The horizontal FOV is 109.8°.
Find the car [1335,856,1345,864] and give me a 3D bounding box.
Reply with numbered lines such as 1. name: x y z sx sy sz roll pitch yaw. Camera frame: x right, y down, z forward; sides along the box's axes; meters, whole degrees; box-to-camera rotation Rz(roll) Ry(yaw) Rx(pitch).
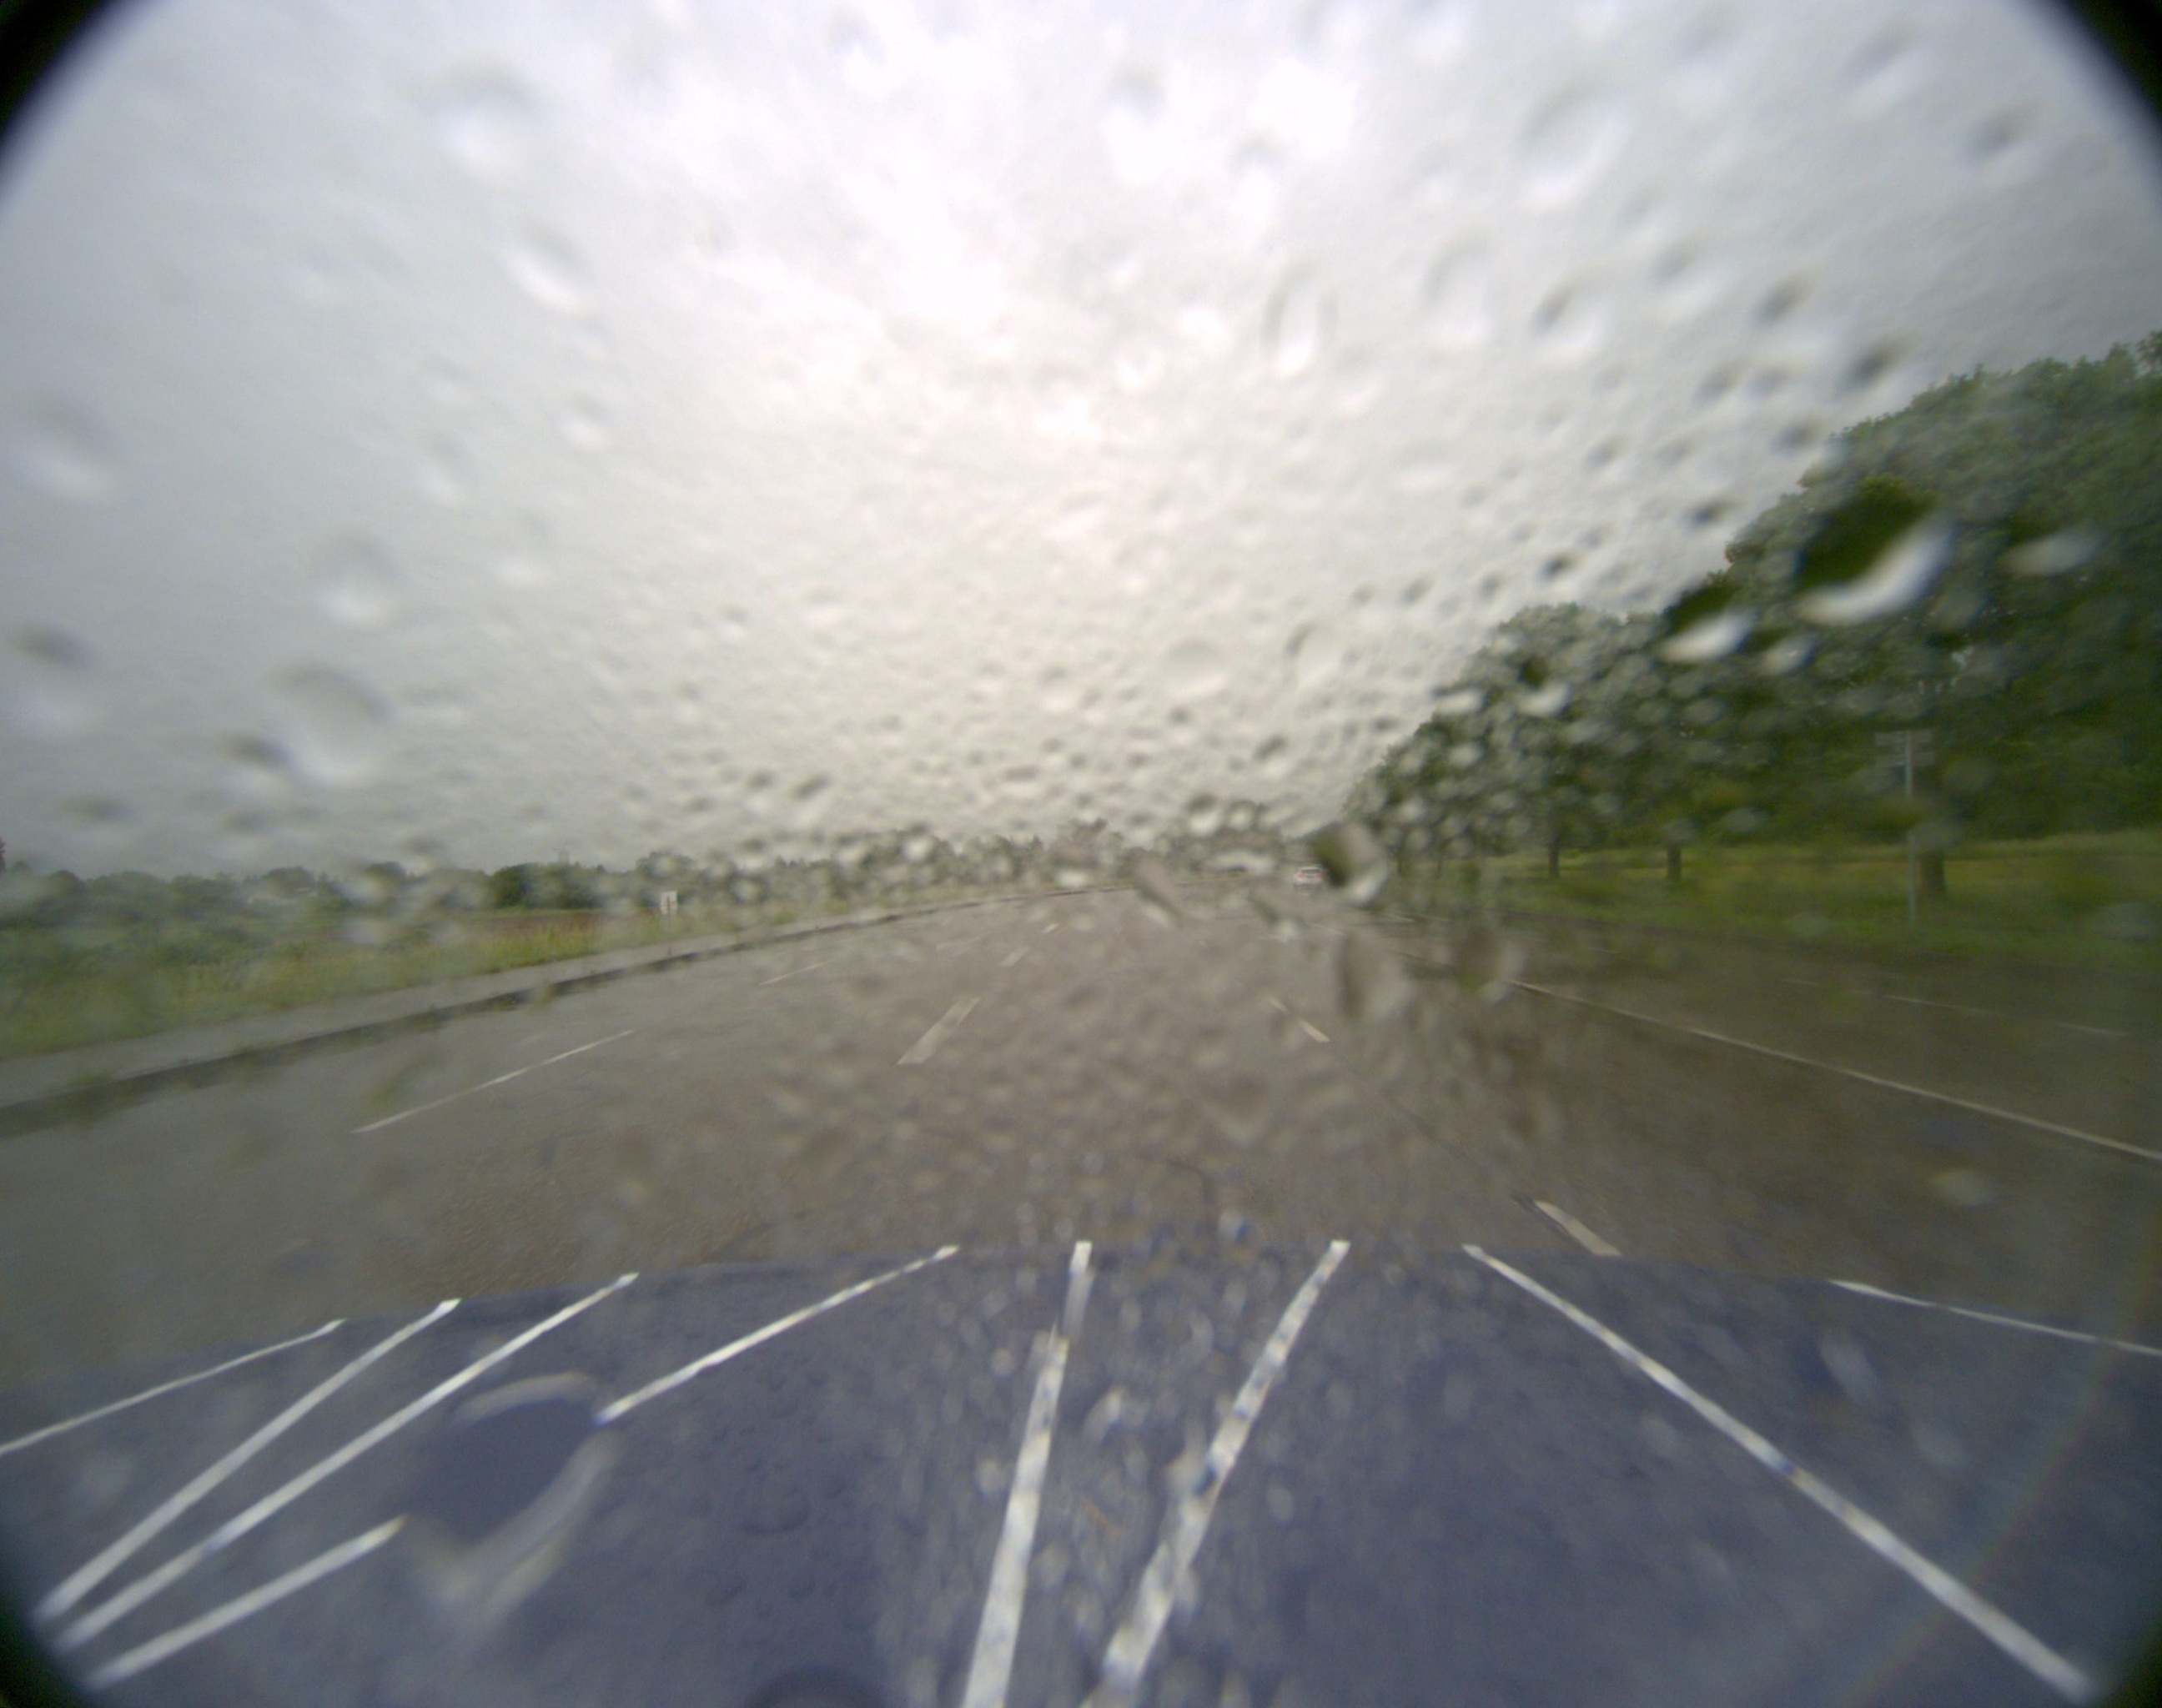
1. car: 53.477 1.229 156.803 1.926 1.733 4.294 0 0 18

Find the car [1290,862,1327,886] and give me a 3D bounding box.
1. car: 15.828 1.370 53.049 1.882 1.564 4.648 0 0 9

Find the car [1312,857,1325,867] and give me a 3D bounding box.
1. car: 34.195 1.145 109.394 1.741 1.478 4.016 0 0 17
